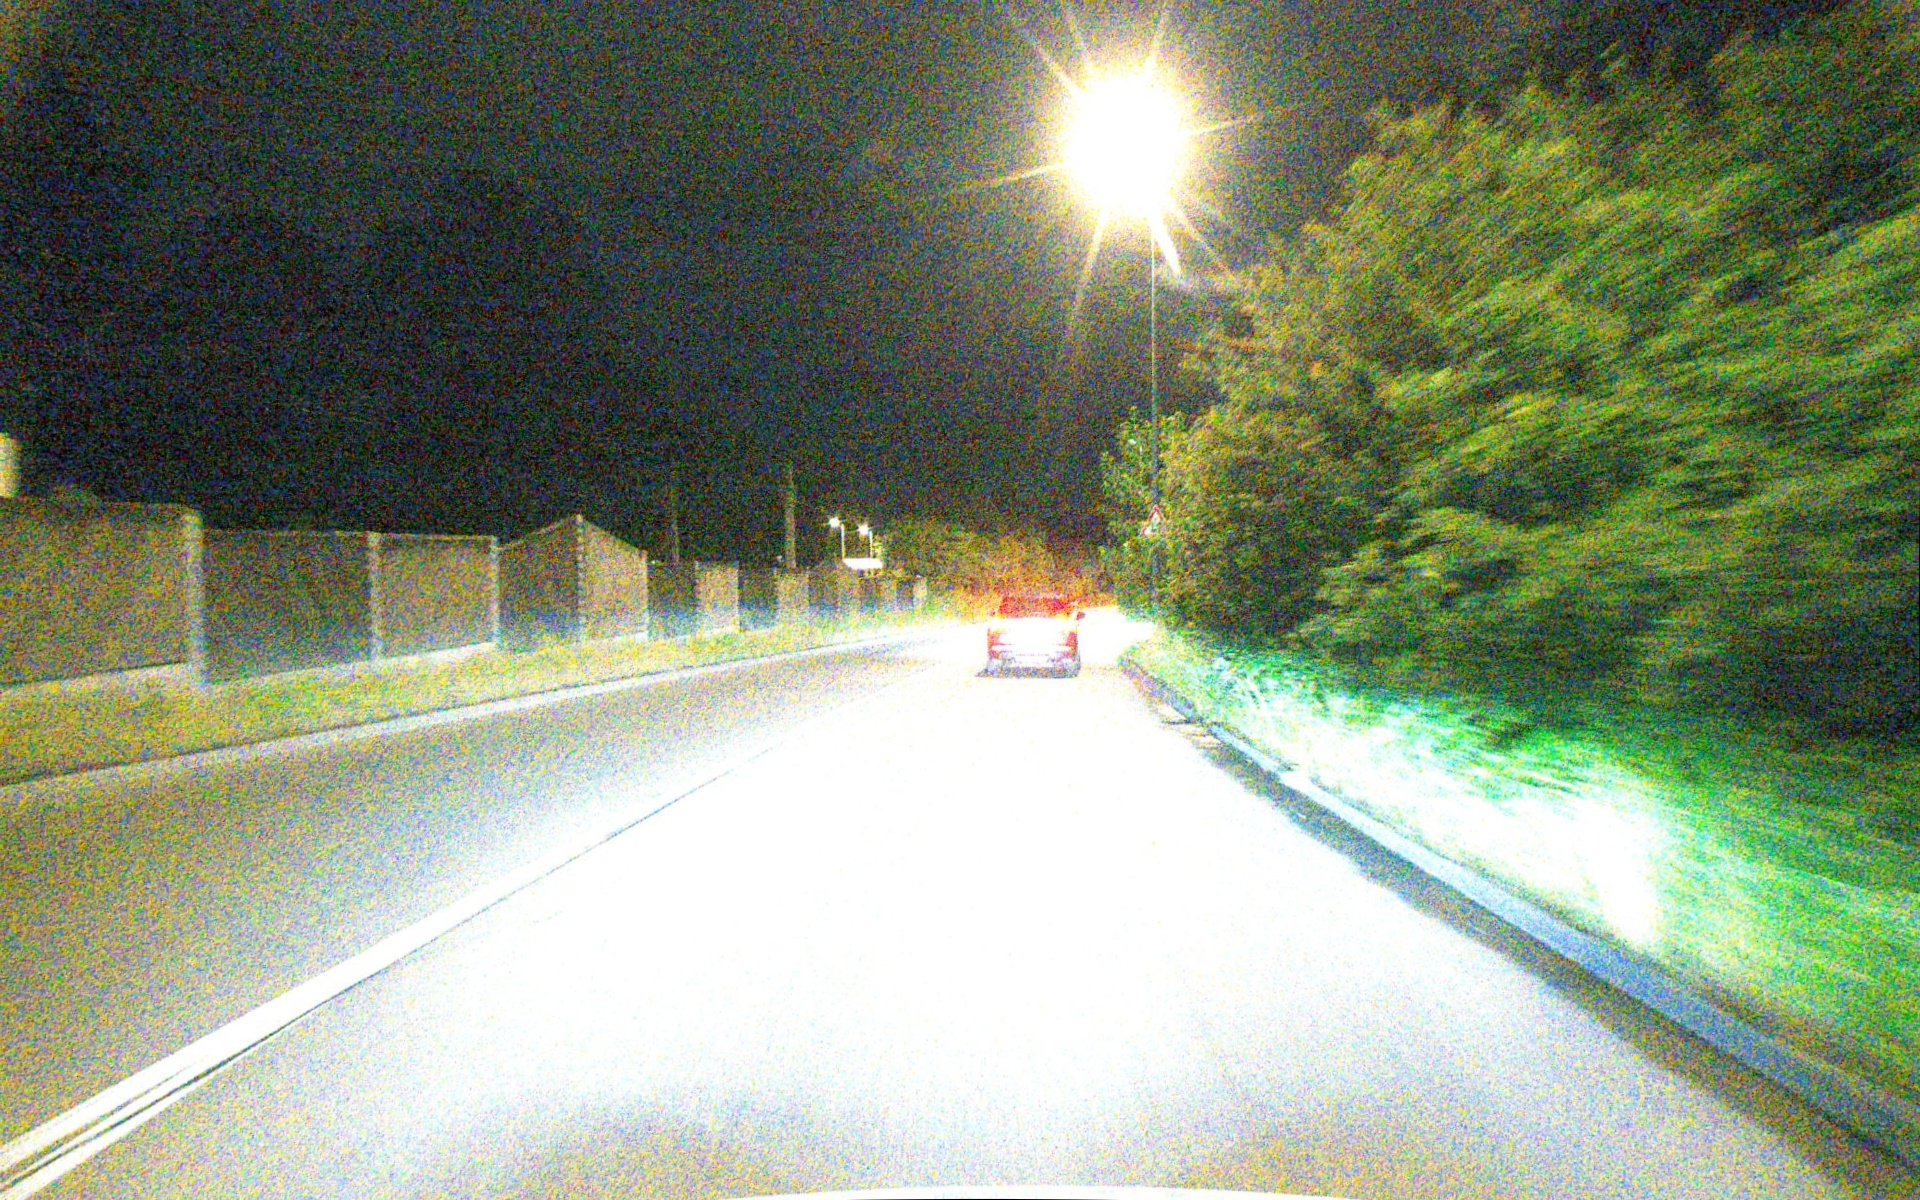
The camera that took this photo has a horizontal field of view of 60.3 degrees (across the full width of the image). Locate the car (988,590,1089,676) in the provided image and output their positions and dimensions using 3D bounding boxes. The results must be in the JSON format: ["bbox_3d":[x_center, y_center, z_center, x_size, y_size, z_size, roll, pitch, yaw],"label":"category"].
[{"bbox_3d":[1.624,0.616,32.985,1.776,1.601,3.946,0,0,6],"label":"car"}]
